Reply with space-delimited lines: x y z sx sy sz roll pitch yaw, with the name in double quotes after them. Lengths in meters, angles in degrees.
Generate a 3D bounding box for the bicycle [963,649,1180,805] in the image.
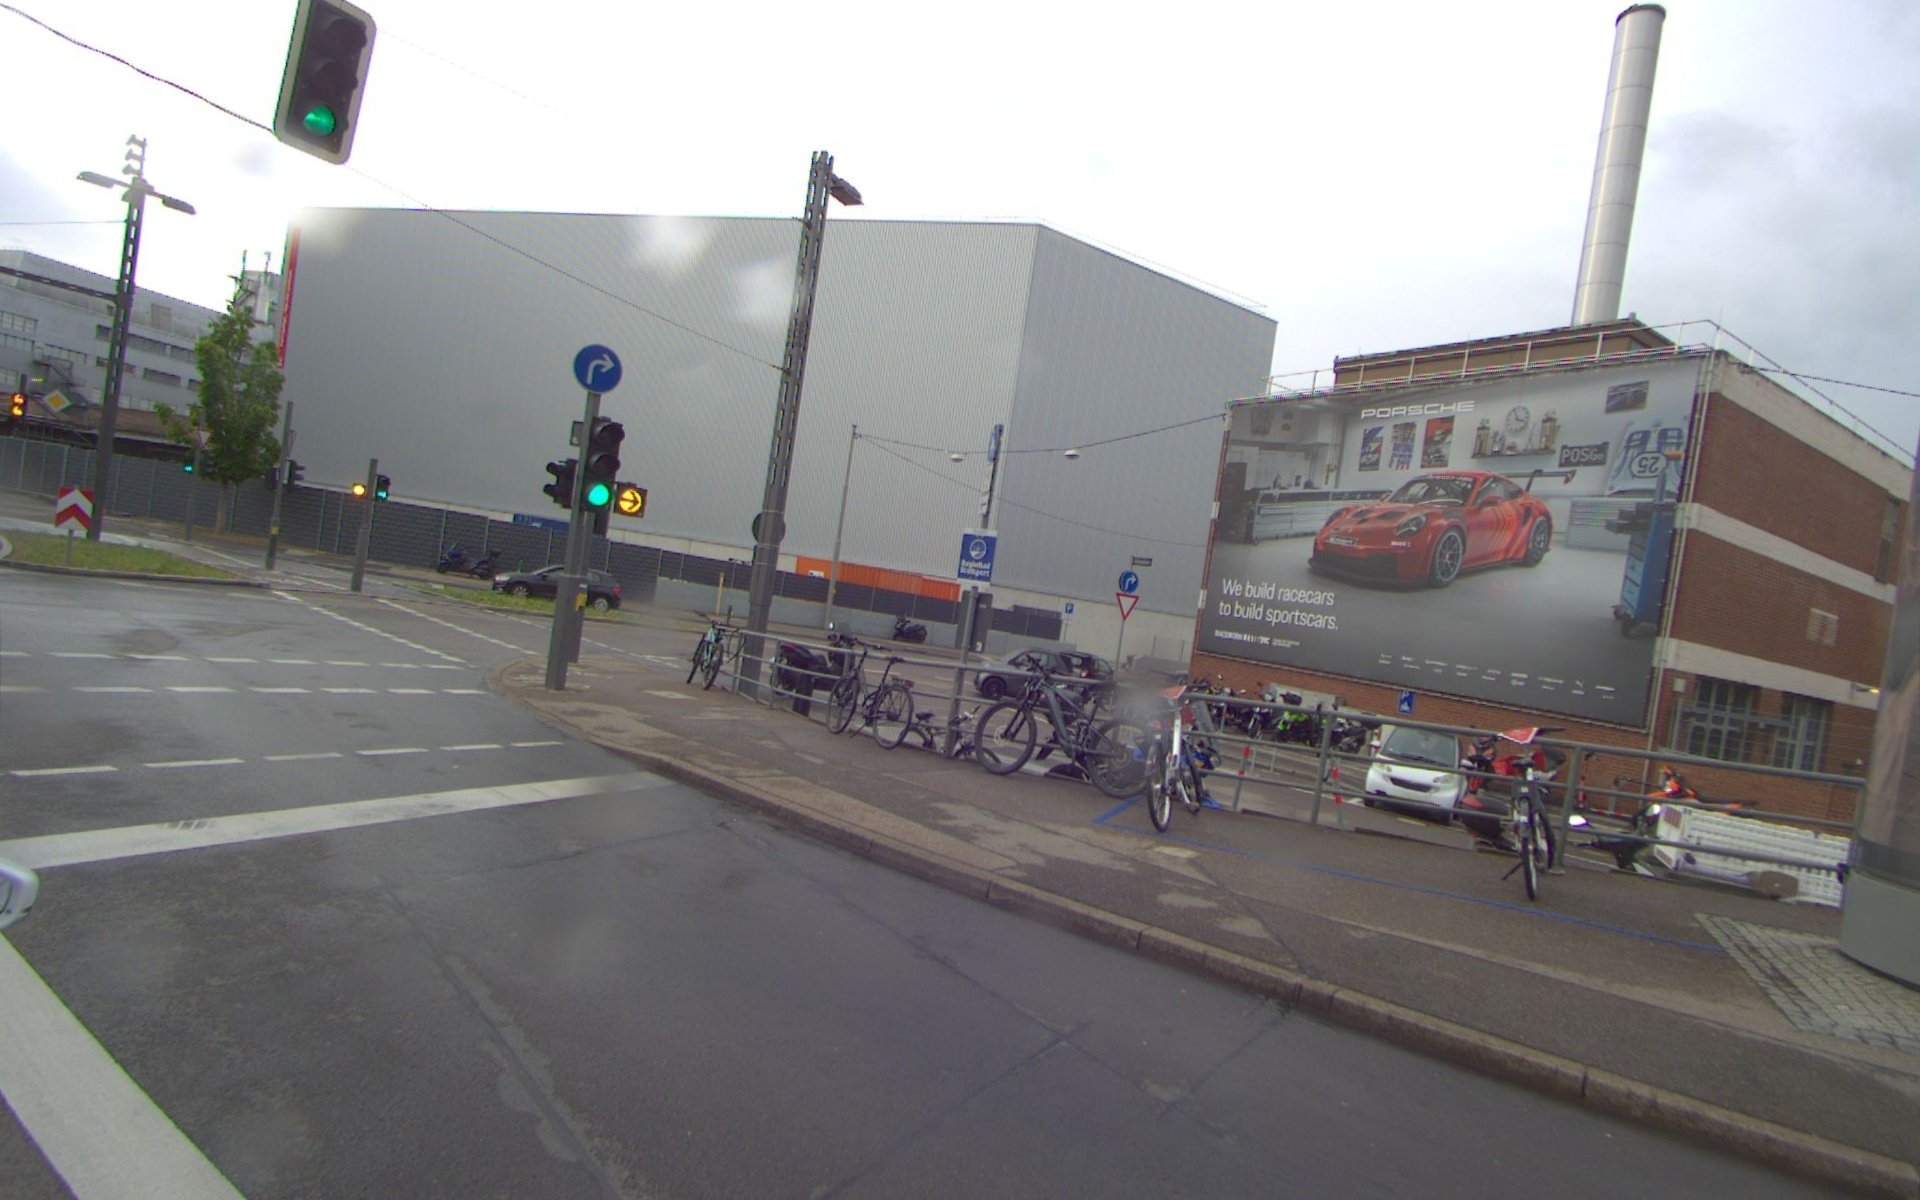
1.042 1.179 9.701 1.981 1.189 0.400 6 0 30 "bicycle"

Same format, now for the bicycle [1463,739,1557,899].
4.088 1.553 7.426 0.414 0.933 1.613 8 0 32 "bicycle"

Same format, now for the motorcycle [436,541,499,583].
-19.809 -1.507 40.467 2.082 1.326 0.650 10 0 -33 "motorcycle"

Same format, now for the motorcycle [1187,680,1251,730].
7.287 2.959 28.248 1.631 1.194 0.670 8 -2 -30 "motorcycle"

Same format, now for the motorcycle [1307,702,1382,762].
9.311 3.201 24.361 1.788 1.253 0.540 8 1 -30 "motorcycle"

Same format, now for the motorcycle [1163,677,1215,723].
6.763 2.946 29.748 0.538 1.133 1.593 7 -2 -25 "motorcycle"

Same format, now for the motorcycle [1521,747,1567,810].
12.391 3.756 21.312 0.576 1.165 1.717 6 -2 36 "motorcycle"

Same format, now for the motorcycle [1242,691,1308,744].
8.177 3.050 26.084 1.695 1.194 0.541 8 -2 -30 "motorcycle"

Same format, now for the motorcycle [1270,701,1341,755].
8.573 3.180 24.966 1.789 1.132 0.474 8 -2 -28 "motorcycle"

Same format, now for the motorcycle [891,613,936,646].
-2.390 1.517 51.949 2.082 1.393 0.650 10 0 -33 "motorcycle"

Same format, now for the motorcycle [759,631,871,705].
-2.600 1.257 18.271 0.481 1.158 2.086 6 -3 41 "motorcycle"

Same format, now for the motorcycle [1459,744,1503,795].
11.440 3.689 22.065 0.533 0.984 1.613 6 -2 36 "motorcycle"

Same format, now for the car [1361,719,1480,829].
8.649 3.132 18.732 1.541 1.506 3.996 8 -1 29 "car"

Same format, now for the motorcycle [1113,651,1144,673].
10.628 3.934 63.478 0.622 1.088 1.906 8 0 -38 "motorcycle"

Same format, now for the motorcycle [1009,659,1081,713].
2.164 2.188 25.558 1.702 1.159 0.492 8 -2 -24 "motorcycle"

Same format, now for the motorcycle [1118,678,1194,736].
4.654 2.531 23.971 0.539 1.123 1.850 8 -2 -32 "motorcycle"

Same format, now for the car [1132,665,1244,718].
8.375 3.358 36.811 4.070 1.460 1.554 9 -3 -35 "car"

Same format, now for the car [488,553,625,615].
-13.439 -0.528 33.539 3.958 1.442 1.708 9 -1 -30 "car"

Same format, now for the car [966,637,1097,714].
1.900 2.023 27.332 3.190 1.521 1.624 9 0 -4 "car"

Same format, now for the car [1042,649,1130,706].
4.200 2.577 33.235 1.530 1.510 2.745 11 0 37 "car"

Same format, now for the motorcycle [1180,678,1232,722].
7.440 3.015 30.487 0.538 1.123 1.639 7 -2 -25 "motorcycle"

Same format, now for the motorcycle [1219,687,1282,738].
7.820 3.025 27.022 1.631 1.194 0.541 8 -2 -30 "motorcycle"

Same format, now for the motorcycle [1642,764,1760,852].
14.247 3.988 19.379 1.639 1.349 0.524 6 -1 21 "motorcycle"

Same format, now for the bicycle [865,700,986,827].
-0.418 1.769 11.154 0.344 1.097 1.728 6 -1 -35 "bicycle"

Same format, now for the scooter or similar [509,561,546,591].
-17.924 -1.001 41.690 1.247 1.041 0.385 9 0 0 "scooter or similar"

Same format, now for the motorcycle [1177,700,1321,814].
2.844 1.519 9.919 1.241 0.901 0.434 6 0 23 "motorcycle"

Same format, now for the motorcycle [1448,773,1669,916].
5.138 2.087 8.717 1.512 0.901 0.403 6 0 19 "motorcycle"

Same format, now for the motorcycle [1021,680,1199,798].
1.488 1.380 10.222 1.722 0.906 0.545 5 -1 44 "motorcycle"

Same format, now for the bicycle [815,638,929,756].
-1.027 1.053 11.305 0.344 1.097 1.728 6 -1 -35 "bicycle"

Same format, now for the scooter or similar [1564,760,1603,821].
12.950 3.934 20.882 0.496 1.109 1.635 6 -2 36 "scooter or similar"

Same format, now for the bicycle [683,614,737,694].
-4.049 0.834 16.200 0.416 1.143 2.064 7 -2 -22 "bicycle"

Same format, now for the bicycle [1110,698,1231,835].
1.808 1.341 8.443 0.414 0.973 1.744 6 -1 29 "bicycle"
